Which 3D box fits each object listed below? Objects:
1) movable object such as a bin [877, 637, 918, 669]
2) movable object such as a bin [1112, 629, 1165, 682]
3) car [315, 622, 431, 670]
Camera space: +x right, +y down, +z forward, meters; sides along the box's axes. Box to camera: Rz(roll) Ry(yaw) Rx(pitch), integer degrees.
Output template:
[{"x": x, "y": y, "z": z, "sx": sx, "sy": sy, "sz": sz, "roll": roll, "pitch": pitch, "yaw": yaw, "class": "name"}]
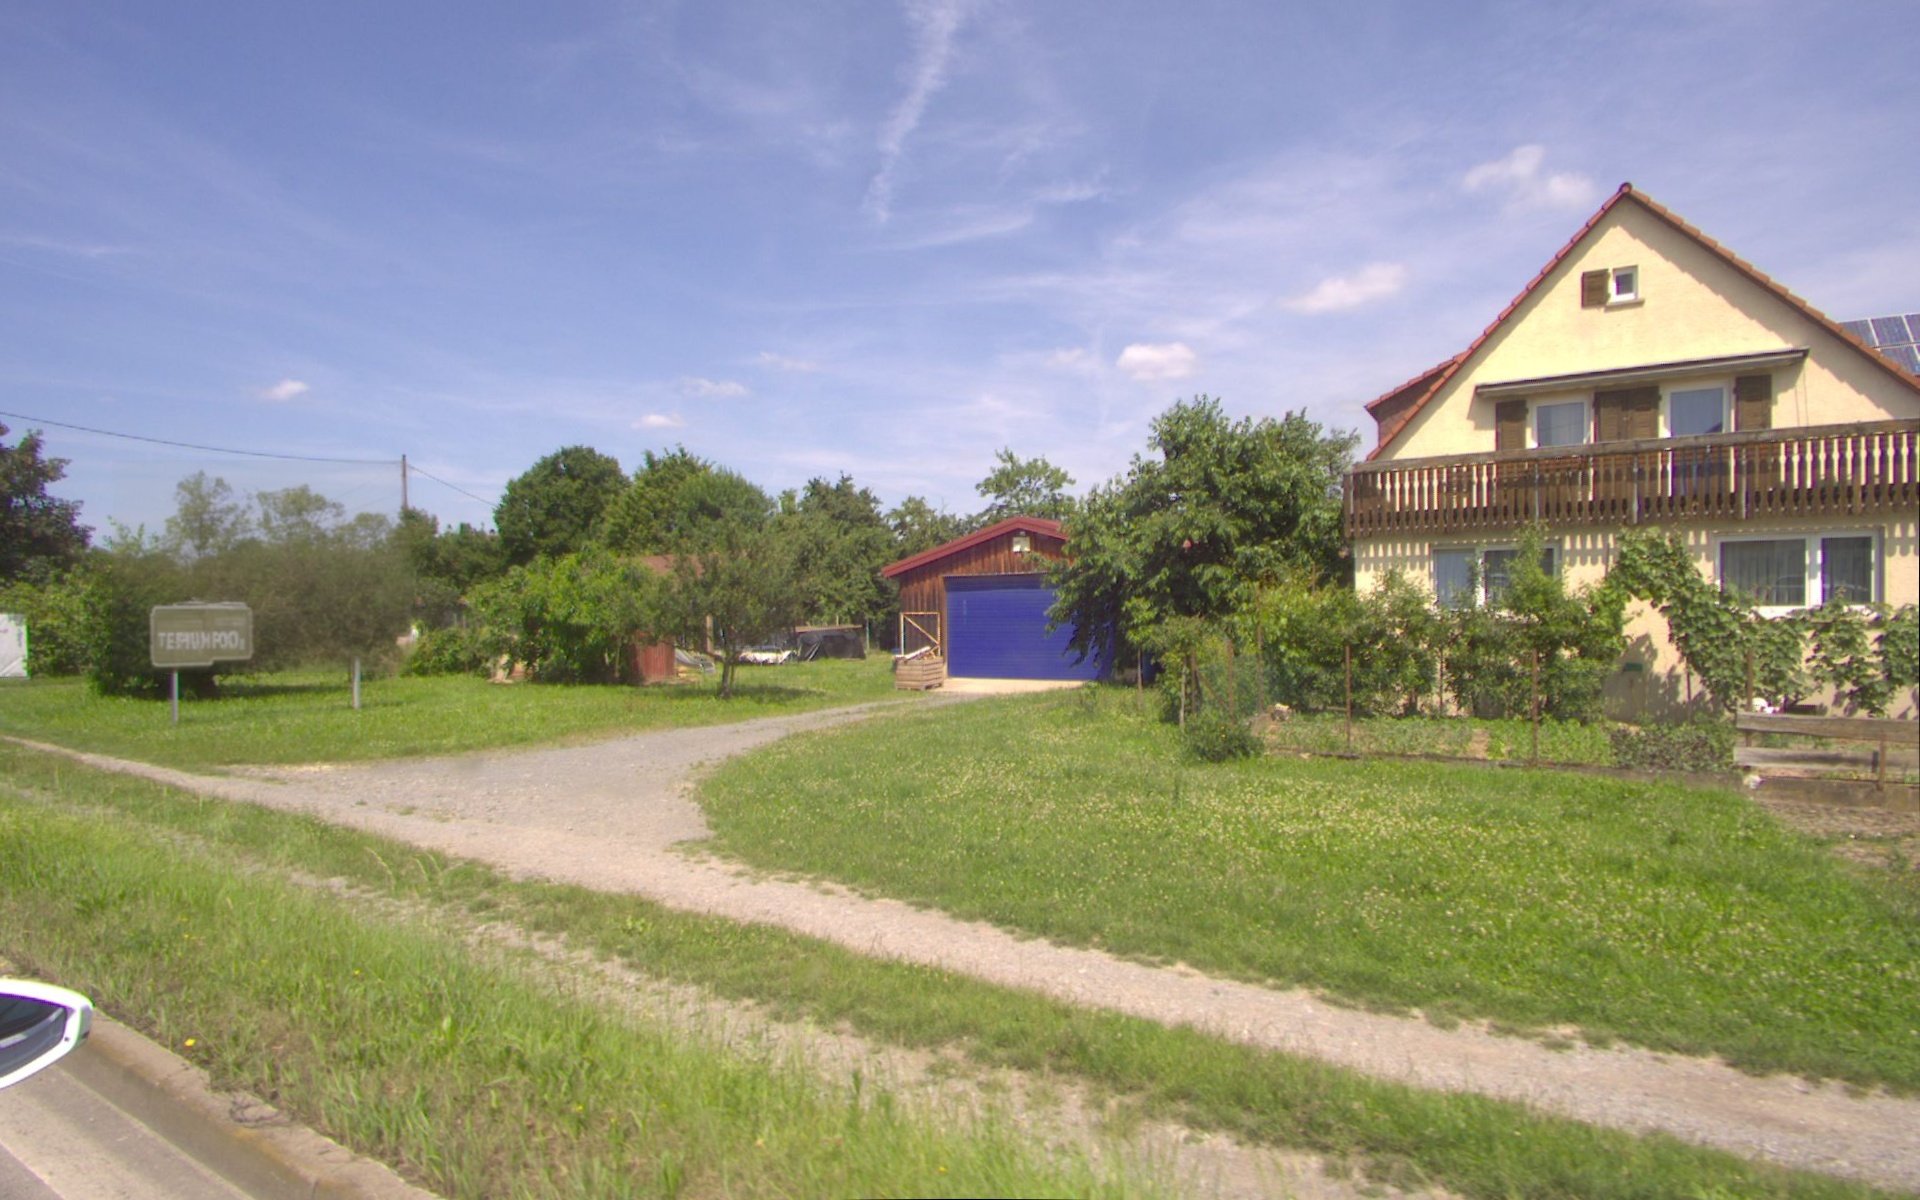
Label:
[{"x": -2.108, "y": 1.795, "z": 33.977, "sx": 1.045, "sy": 1.046, "sz": 1.040, "roll": -3, "pitch": -2, "yaw": 18, "class": "movable object such as a bin"}, {"x": 4.977, "y": 1.531, "z": 27.867, "sx": 1.049, "sy": 1.415, "sz": 1.271, "roll": 0, "pitch": -1, "yaw": 34, "class": "movable object such as a bin"}, {"x": -25.793, "y": 2.000, "z": 44.082, "sx": 1.976, "sy": 2.039, "sz": 3.971, "roll": 0, "pitch": -2, "yaw": 40, "class": "car"}]
